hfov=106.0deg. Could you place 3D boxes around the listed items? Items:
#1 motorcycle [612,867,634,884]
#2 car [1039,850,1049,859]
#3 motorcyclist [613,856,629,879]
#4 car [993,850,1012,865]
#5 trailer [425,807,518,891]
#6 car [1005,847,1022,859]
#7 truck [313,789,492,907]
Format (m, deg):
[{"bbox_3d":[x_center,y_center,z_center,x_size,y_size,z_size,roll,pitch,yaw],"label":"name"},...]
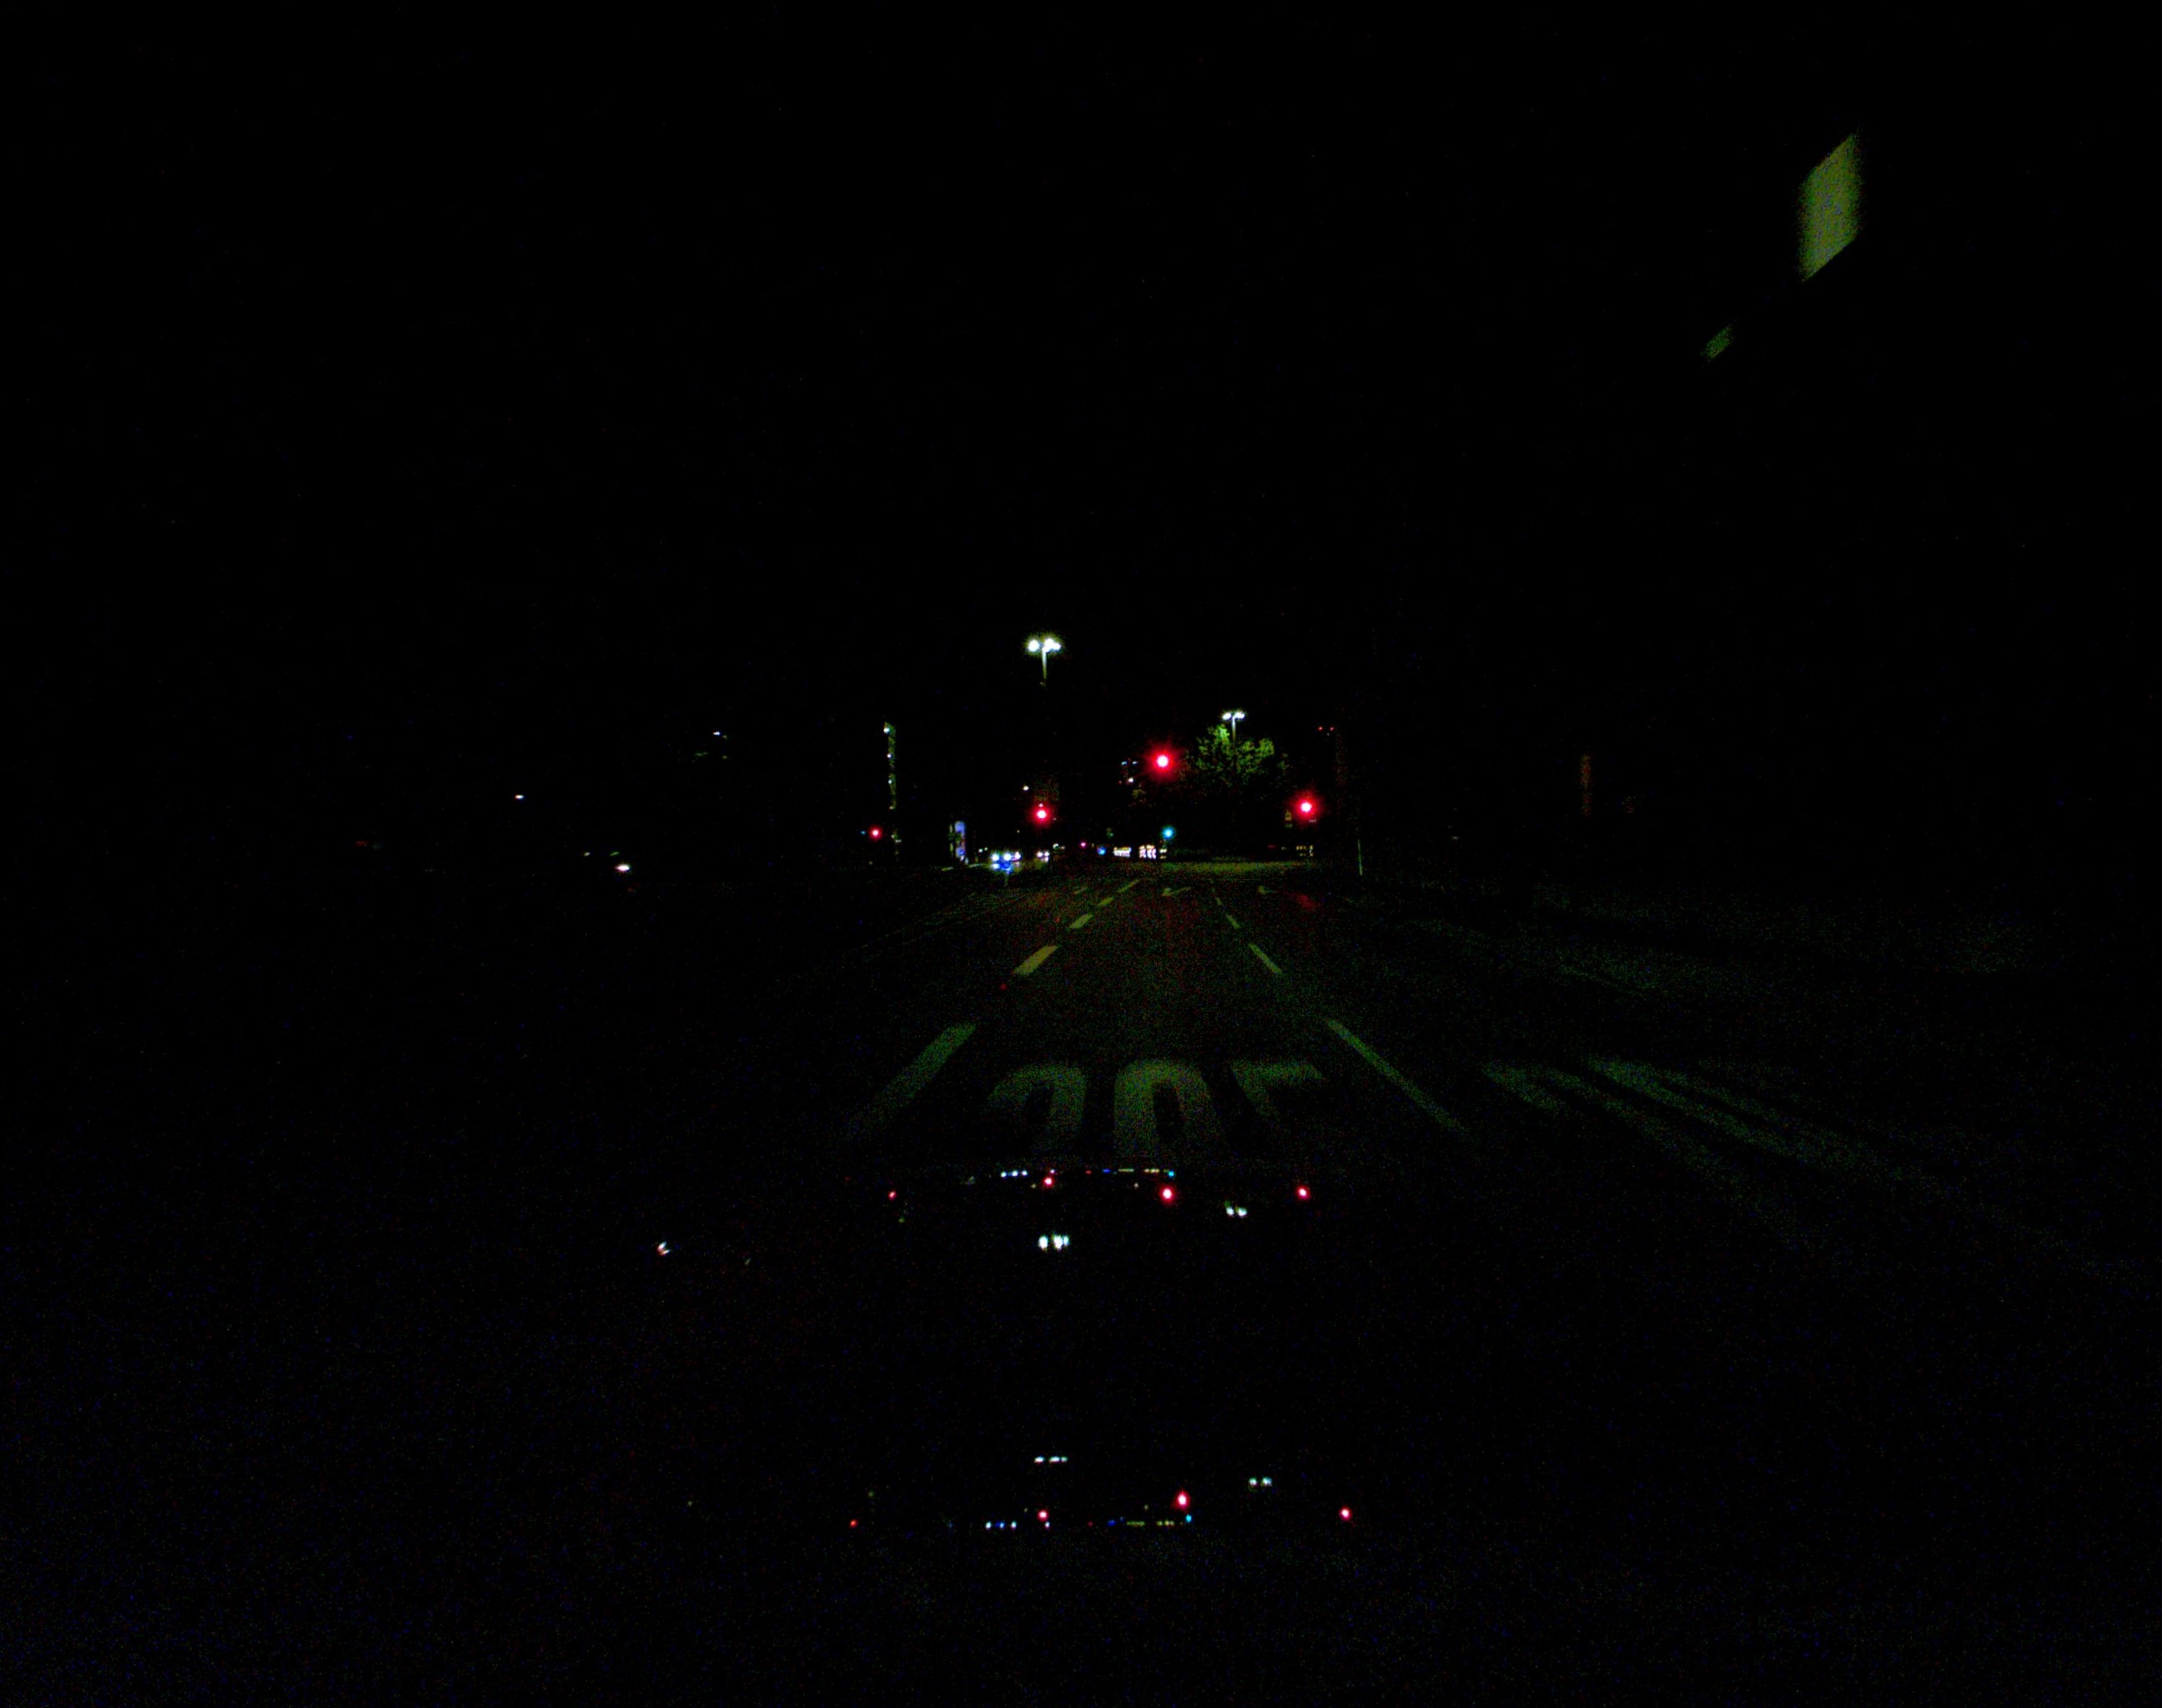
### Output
[{"bbox_3d":[-25.163,1.178,44.717,0.583,0.896,2.129,-4,2,-42],"label":"motorcycle"},{"bbox_3d":[-7.696,0.115,169.742,1.752,1.728,3.548,-1,0,1],"label":"car"},{"bbox_3d":[-25.154,0.735,44.519,0.652,1.261,0.572,-1,0,-42],"label":"motorcyclist"},{"bbox_3d":[-8.665,0.376,90.041,1.610,1.515,4.001,-1,0,1],"label":"car"},{"bbox_3d":[-30.100,-0.222,40.511,2.628,3.791,6.455,-1,0,-27],"label":"trailer"},{"bbox_3d":[-8.207,-0.126,99.156,1.752,1.322,3.548,-1,0,1],"label":"car"},{"bbox_3d":[-25.393,-0.182,31.125,2.953,3.796,9.477,-1,0,-25],"label":"truck"}]
